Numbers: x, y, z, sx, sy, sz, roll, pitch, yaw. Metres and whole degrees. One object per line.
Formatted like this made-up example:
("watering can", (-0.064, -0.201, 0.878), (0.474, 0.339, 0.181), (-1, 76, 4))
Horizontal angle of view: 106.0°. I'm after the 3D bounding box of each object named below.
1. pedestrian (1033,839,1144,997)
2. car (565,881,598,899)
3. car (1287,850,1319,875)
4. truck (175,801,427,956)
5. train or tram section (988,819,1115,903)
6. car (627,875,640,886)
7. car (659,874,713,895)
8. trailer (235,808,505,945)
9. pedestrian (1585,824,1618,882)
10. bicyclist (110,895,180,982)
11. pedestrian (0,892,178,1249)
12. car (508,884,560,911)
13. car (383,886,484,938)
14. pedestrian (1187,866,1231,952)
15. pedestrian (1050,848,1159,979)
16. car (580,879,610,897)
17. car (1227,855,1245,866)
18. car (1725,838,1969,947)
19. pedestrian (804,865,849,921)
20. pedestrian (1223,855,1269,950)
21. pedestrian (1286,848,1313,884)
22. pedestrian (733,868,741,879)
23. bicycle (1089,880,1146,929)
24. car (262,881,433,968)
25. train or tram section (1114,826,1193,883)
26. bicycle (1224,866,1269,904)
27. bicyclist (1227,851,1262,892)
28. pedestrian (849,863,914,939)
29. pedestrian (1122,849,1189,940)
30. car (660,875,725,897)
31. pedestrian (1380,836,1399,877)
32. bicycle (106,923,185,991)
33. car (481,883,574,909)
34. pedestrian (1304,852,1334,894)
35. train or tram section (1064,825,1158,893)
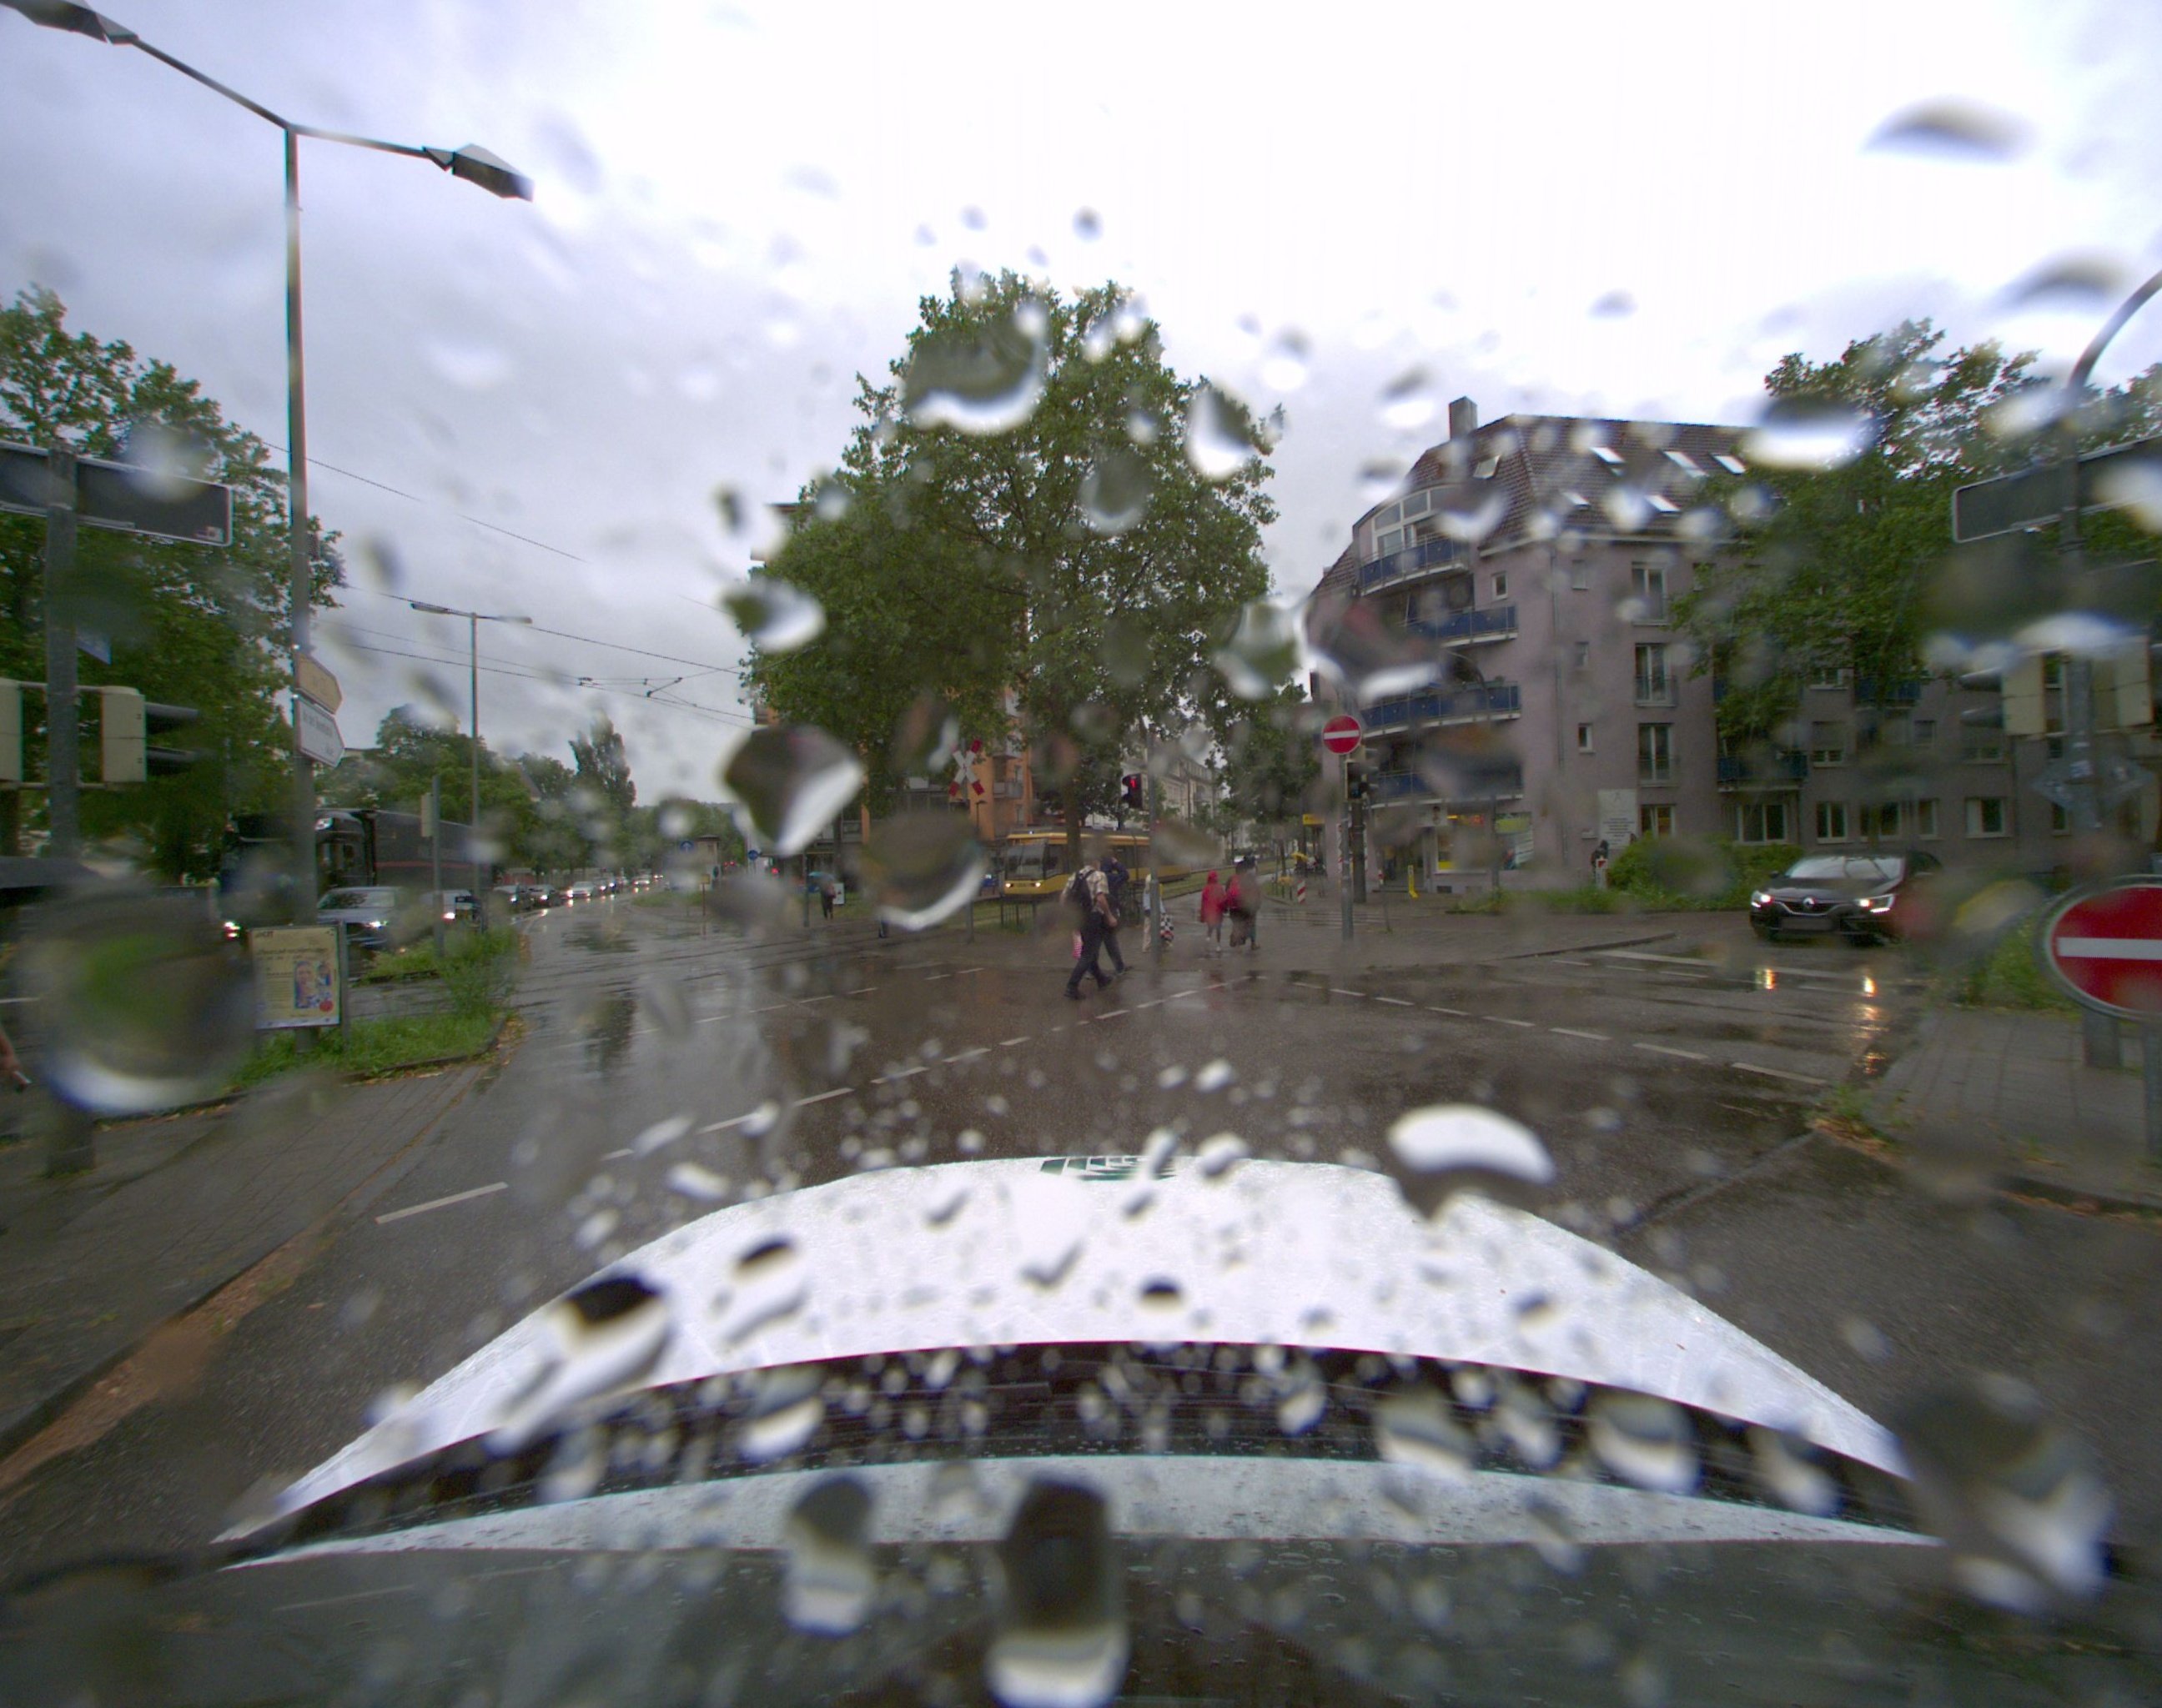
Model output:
("pedestrian", (0.094, 0.736, 9.921), (1.000, 1.781, 0.802), (-3, 0, -44))
("car", (-41.426, 2.972, 67.581), (1.784, 1.403, 4.789), (-1, -1, -25))
("car", (16.426, 0.615, 60.218), (1.977, 1.673, 4.019), (-2, 0, 18))
("truck", (-23.720, 0.649, 25.394), (3.466, 4.078, 6.918), (-1, 0, -24))
("train or tram section", (-1.079, 0.296, 37.168), (2.615, 3.369, 8.420), (-2, 0, 21))
("car", (-72.327, 4.288, 131.584), (1.787, 1.530, 3.961), (-1, 1, -31))
("car", (-34.906, 2.676, 72.122), (4.211, 1.568, 1.872), (-2, -1, -26))
("trailer", (-26.486, 0.739, 31.763), (3.458, 4.049, 14.931), (-2, 0, -24))
("pedestrian", (16.305, -0.029, 25.517), (0.625, 1.804, 0.635), (-3, 0, -36))
("bicyclist", (-16.735, 1.482, 14.580), (0.584, 1.461, 0.999), (-2, 0, -37))
("pedestrian", (-5.107, 1.005, 3.942), (0.868, 1.581, 0.635), (-3, 0, -41))
("car", (-33.120, 2.588, 49.442), (1.734, 1.361, 4.305), (-3, 0, -22))
("car", (-20.523, 1.777, 25.986), (1.708, 1.373, 4.063), (-2, 0, -27))
("pedestrian", (2.199, 0.932, 14.065), (0.667, 1.381, 1.013), (-2, 0, 8))
("pedestrian", (0.328, 0.787, 11.353), (1.062, 1.686, 0.984), (-3, 0, -41))
("car", (-44.304, 3.102, 74.265), (1.787, 1.420, 4.231), (-2, 0, -24))
("car", (21.503, 0.874, 112.954), (1.979, 1.533, 4.016), (-2, 0, 15))
("car", (12.610, 0.535, 13.351), (4.194, 1.461, 1.974), (-2, 0, -33))
("pedestrian", (-8.950, 1.329, 28.631), (1.178, 1.865, 1.371), (-1, 0, -33))
("pedestrian", (2.812, 0.818, 13.947), (0.686, 1.547, 0.763), (-2, 0, 9))
("pedestrian", (10.498, 0.583, 39.104), (0.943, 1.697, 0.927), (-2, 0, 33))
("pedestrian", (-56.377, 3.149, 133.345), (1.066, 1.811, 1.086), (-1, -1, -20))
("bicycle", (0.900, 1.212, 19.762), (0.440, 1.077, 1.629), (-2, -1, 41))
("car", (-17.717, 1.599, 19.982), (2.086, 1.682, 4.882), (1, 0, -30))
("train or tram section", (4.975, 0.006, 53.730), (2.615, 3.351, 10.037), (-2, 0, 20))
("bicycle", (5.553, 1.021, 27.474), (0.751, 1.173, 2.033), (-3, 0, -11))
("bicyclist", (5.510, 0.583, 27.529), (0.741, 1.309, 1.072), (-3, 0, -12))
("pedestrian", (-5.005, 1.152, 20.429), (1.221, 1.788, 1.044), (-2, -1, 42))
("pedestrian", (1.343, 0.702, 14.488), (0.868, 1.525, 1.070), (-2, 0, 20))
("car", (-30.594, 2.484, 64.280), (4.555, 1.470, 1.967), (-2, -1, -24))
("pedestrian", (12.156, 0.114, 32.076), (0.597, 1.602, 0.467), (-1, -1, -45))
("bicycle", (-16.737, 1.807, 14.615), (0.536, 1.024, 1.853), (-2, 0, -37))
("car", (-36.758, 2.799, 54.156), (4.884, 1.454, 2.091), (-2, 0, 8))
("pedestrian", (9.069, 0.726, 30.968), (0.983, 1.559, 0.788), (-2, -1, 19))
("train or tram section", (1.856, 0.242, 45.039), (2.615, 3.351, 8.418), (-2, 0, 20))
